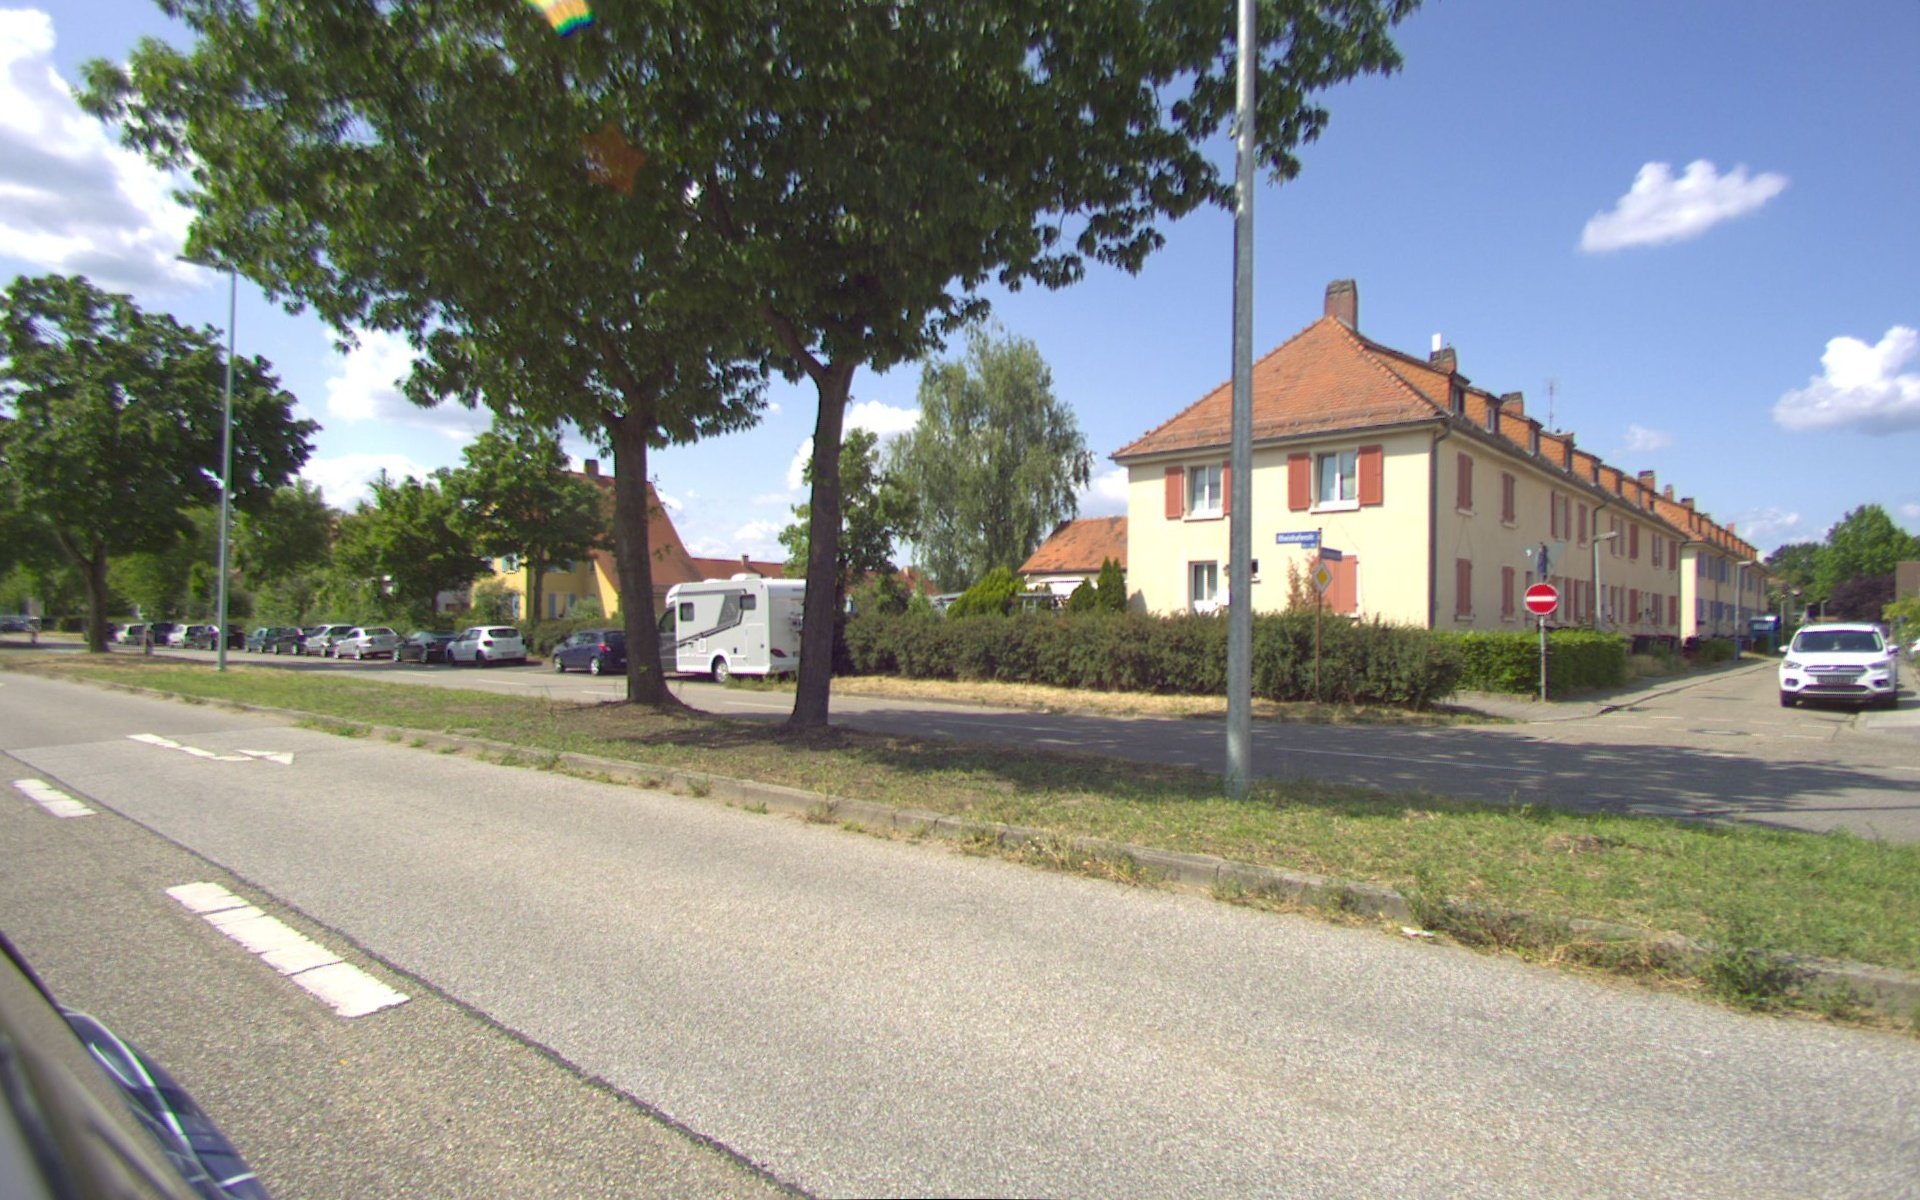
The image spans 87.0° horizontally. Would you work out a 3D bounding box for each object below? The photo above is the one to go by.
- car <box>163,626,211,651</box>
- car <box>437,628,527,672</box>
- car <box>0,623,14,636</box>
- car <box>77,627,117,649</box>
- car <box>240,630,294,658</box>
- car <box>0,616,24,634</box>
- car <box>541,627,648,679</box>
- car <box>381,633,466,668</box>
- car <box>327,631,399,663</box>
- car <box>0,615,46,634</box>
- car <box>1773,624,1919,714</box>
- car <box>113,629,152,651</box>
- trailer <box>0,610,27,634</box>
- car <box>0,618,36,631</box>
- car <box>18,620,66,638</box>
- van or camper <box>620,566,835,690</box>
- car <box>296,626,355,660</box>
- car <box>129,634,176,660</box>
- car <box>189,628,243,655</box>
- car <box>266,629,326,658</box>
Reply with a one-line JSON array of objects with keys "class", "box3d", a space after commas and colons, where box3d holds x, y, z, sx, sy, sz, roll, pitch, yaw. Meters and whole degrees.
[{"class": "car", "box3d": [-50.692, 2.513, 66.372, 3.842, 1.462, 1.644, 0, 0, 39]}, {"class": "car", "box3d": [-18.560, 1.892, 39.223, 4.122, 1.497, 1.671, 0, 0, 41]}, {"class": "car", "box3d": [-119.619, 3.674, 124.937, 1.798, 1.521, 3.947, 0, 1, 40]}, {"class": "car", "box3d": [-69.774, 3.059, 81.799, 3.995, 1.563, 1.750, 0, 0, 39]}, {"class": "car", "box3d": [-38.690, 2.418, 56.479, 3.474, 1.405, 1.547, 0, 0, 39]}, {"class": "car", "box3d": [-115.642, 3.061, 122.153, 1.778, 2.029, 4.003, -1, 0, -4]}, {"class": "car", "box3d": [-12.158, 1.704, 33.549, 3.991, 1.497, 1.619, 0, 0, 41]}, {"class": "car", "box3d": [-22.482, 2.075, 42.355, 4.582, 1.316, 1.619, -2, 0, 41]}, {"class": "car", "box3d": [-27.576, 2.135, 46.678, 4.529, 1.380, 1.495, -1, 0, 41]}, {"class": "car", "box3d": [-108.639, 2.789, 117.332, 1.778, 2.029, 4.003, -1, 0, -4]}, {"class": "car", "box3d": [18.209, 1.319, 20.719, 3.941, 1.630, 2.001, 2, -1, -45]}, {"class": "car", "box3d": [-61.453, 2.958, 75.138, 3.531, 1.472, 1.578, 0, 0, 39]}, {"class": "trailer", "box3d": [-127.485, 2.923, 134.338, 2.781, 3.132, 5.768, -1, 0, -13]}, {"class": "car", "box3d": [-113.155, 2.881, 121.119, 1.550, 1.408, 4.003, -1, 0, -4]}, {"class": "car", "box3d": [-100.855, 3.181, 111.255, 1.778, 1.874, 4.003, -1, -1, -4]}, {"class": "van or camper", "box3d": [-6.839, 0.778, 28.998, 7.319, 3.135, 2.234, -2, -1, 43]}, {"class": "car", "box3d": [-31.456, 2.120, 50.143, 3.738, 1.569, 1.389, -1, 0, 40]}, {"class": "car", "box3d": [-56.739, 3.293, 71.091, 4.309, 1.624, 1.644, 0, 0, 39]}, {"class": "car", "box3d": [-45.371, 2.505, 61.663, 4.098, 1.492, 1.644, -2, 0, 39]}, {"class": "car", "box3d": [-34.790, 2.247, 52.973, 4.352, 1.405, 1.389, -1, 0, 40]}]
